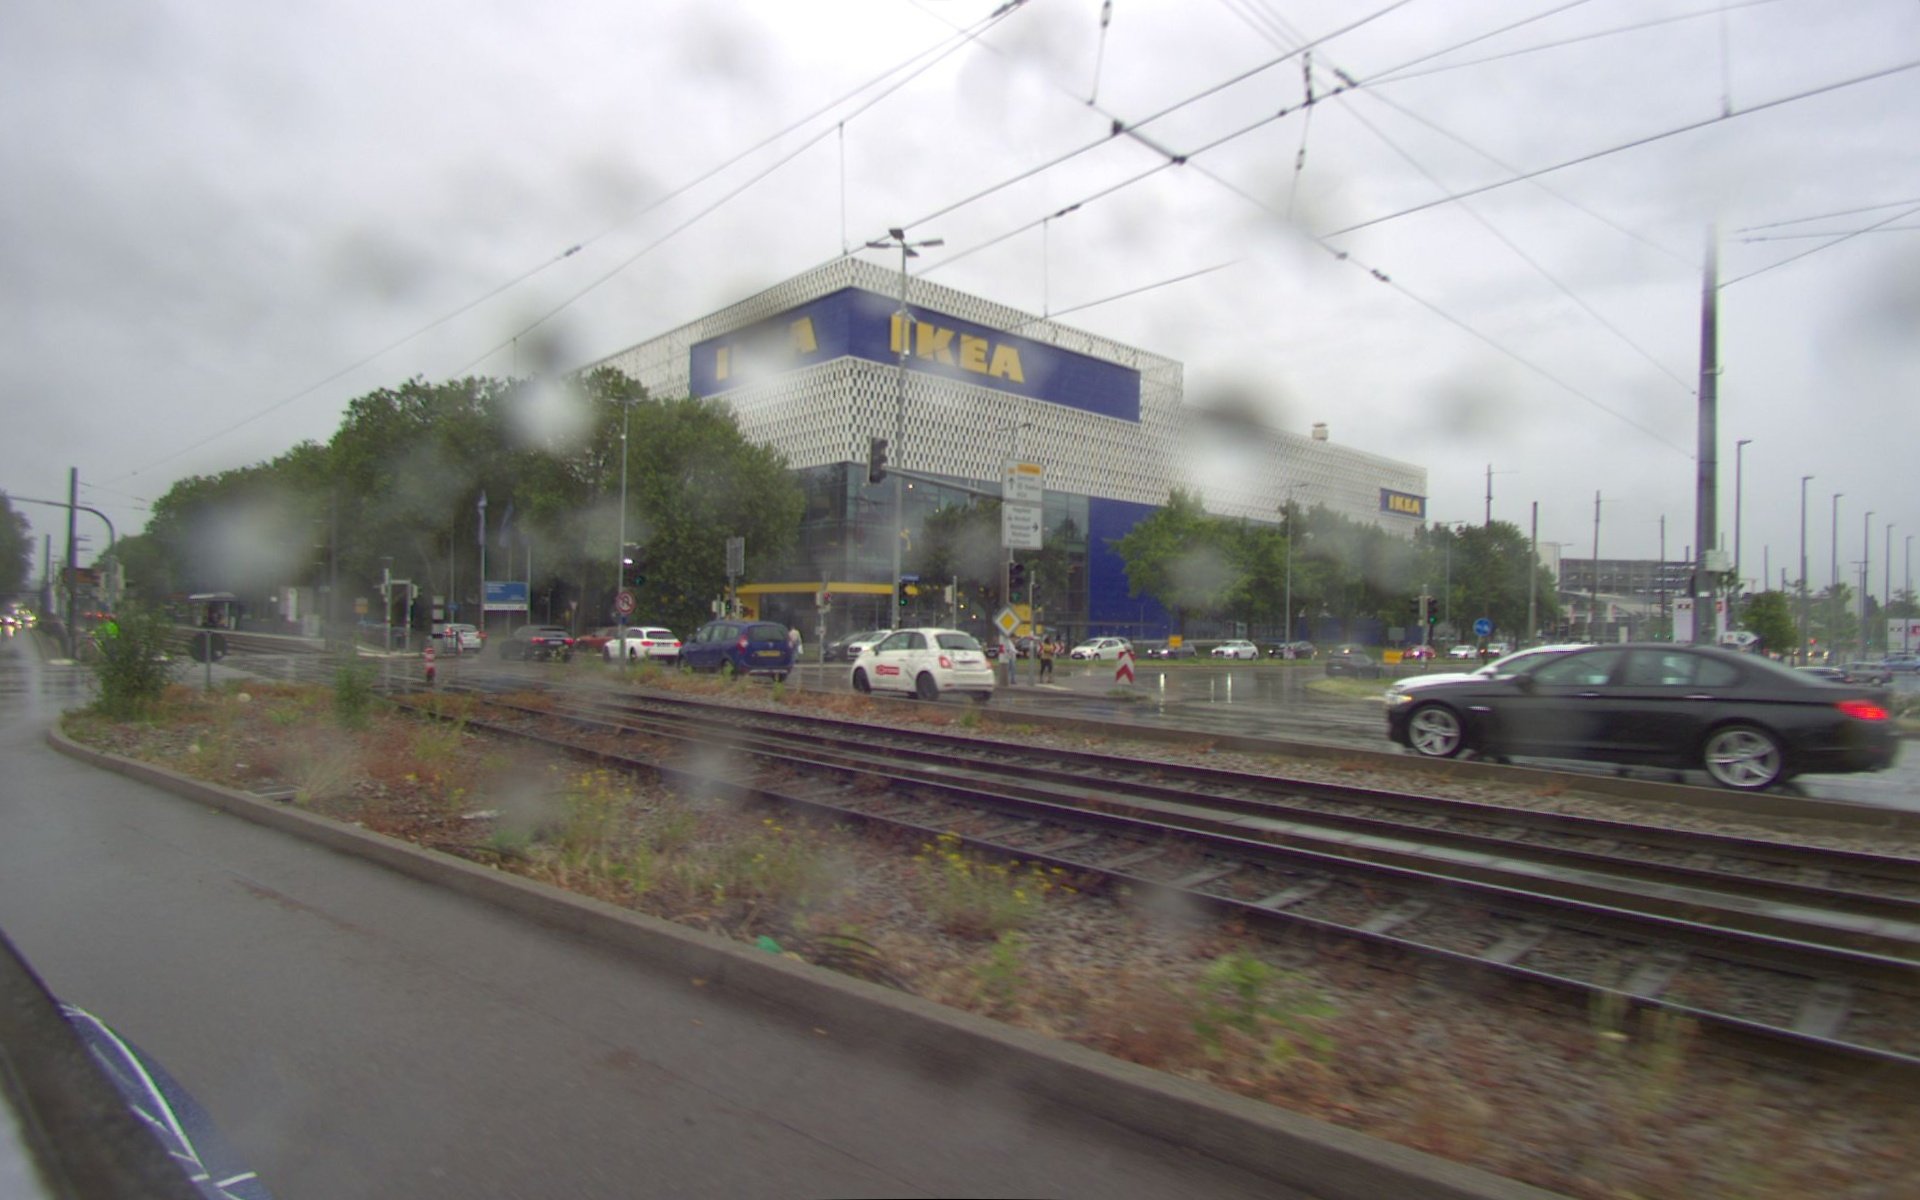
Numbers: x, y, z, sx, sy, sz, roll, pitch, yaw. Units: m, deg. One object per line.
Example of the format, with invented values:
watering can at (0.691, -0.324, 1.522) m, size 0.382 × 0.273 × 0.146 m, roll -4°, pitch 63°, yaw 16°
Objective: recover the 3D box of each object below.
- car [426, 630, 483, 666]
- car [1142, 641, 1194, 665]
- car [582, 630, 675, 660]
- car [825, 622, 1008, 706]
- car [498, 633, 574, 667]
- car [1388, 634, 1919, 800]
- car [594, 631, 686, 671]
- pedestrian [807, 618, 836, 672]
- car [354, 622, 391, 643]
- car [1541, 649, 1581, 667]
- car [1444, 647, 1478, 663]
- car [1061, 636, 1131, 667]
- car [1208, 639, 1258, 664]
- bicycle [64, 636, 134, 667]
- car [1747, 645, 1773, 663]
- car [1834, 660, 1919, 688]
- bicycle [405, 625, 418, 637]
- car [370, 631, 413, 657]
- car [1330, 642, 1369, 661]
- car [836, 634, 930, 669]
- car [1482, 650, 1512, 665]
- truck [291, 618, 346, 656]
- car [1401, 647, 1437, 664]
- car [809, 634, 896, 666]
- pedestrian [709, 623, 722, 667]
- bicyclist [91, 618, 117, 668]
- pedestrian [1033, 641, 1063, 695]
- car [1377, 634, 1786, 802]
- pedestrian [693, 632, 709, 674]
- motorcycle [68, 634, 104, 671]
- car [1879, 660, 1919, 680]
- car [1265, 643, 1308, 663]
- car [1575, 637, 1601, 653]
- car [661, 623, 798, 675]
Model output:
car at (-26.080, 2.454, 52.151) m, size 1.690 × 1.721 × 4.437 m, roll -1°, pitch -1°, yaw -39°
car at (14.571, 3.699, 70.800) m, size 3.766 × 1.417 × 1.605 m, roll -1°, pitch 0°, yaw -41°
car at (-19.944, 2.711, 60.985) m, size 5.005 × 1.579 × 1.994 m, roll -2°, pitch -1°, yaw 11°
car at (-1.011, 1.302, 21.437) m, size 1.691 × 1.547 × 4.053 m, roll -1°, pitch -1°, yaw -41°
car at (-17.524, 2.054, 41.715) m, size 1.691 × 1.259 × 4.053 m, roll -1°, pitch -1°, yaw -41°
car at (7.610, 1.158, 11.058) m, size 1.899 × 1.434 × 5.089 m, roll 6°, pitch -6°, yaw -41°
car at (-13.013, 2.038, 40.966) m, size 1.790 × 1.447 × 4.718 m, roll -1°, pitch -1°, yaw -42°
pedestrian at (-6.046, 1.945, 44.037) m, size 0.905 × 2.261 × 0.992 m, roll -2°, pitch 2°, yaw -30°
car at (-42.020, 2.345, 72.341) m, size 1.562 × 1.425 × 3.920 m, roll -1°, pitch -1°, yaw -42°
car at (56.557, 5.421, 95.245) m, size 4.156 × 1.417 × 2.039 m, roll -1°, pitch 0°, yaw -41°
car at (51.333, 5.587, 103.635) m, size 4.102 × 1.417 × 1.712 m, roll -1°, pitch 0°, yaw -41°
car at (8.119, 3.053, 60.385) m, size 4.047 × 1.615 × 2.002 m, roll -1°, pitch 0°, yaw -42°
car at (20.466, 3.834, 75.778) m, size 3.952 × 1.686 × 1.684 m, roll -1°, pitch 0°, yaw -41°
bicycle at (-30.999, 1.841, 36.462) m, size 0.670 × 1.016 × 1.844 m, roll -3°, pitch -1°, yaw 45°
car at (105.207, 7.064, 133.056) m, size 3.939 × 2.029 × 2.003 m, roll -1°, pitch 0°, yaw -42°
car at (58.964, 4.723, 65.133) m, size 4.042 × 1.536 × 1.693 m, roll 0°, pitch 0°, yaw 43°
bicycle at (-43.477, 2.457, 80.260) m, size 1.175 × 0.863 × 0.566 m, roll -1°, pitch 0°, yaw 42°
car at (-33.748, 2.596, 60.010) m, size 1.561 × 1.377 × 4.209 m, roll -1°, pitch -1°, yaw -38°
car at (33.818, 4.415, 87.768) m, size 3.766 × 1.417 × 1.605 m, roll -1°, pitch 0°, yaw -41°
car at (-3.744, 2.521, 49.925) m, size 4.394 × 1.552 × 1.822 m, roll 0°, pitch -2°, yaw -42°
car at (58.129, 6.221, 109.552) m, size 3.766 × 1.417 × 1.605 m, roll -1°, pitch 0°, yaw -41°
truck at (-58.777, 3.310, 92.609) m, size 2.707 × 2.870 × 9.106 m, roll -1°, pitch 2°, yaw -42°
car at (44.077, 5.284, 97.125) m, size 3.924 × 1.417 × 1.605 m, roll -1°, pitch 0°, yaw -41°
car at (-5.570, 2.569, 52.669) m, size 4.222 × 1.552 × 1.822 m, roll 1°, pitch -3°, yaw -42°
pedestrian at (-12.132, 2.224, 50.192) m, size 0.562 × 2.151 × 0.634 m, roll -2°, pitch -1°, yaw -12°
bicyclist at (-30.883, 1.541, 36.499) m, size 0.793 × 1.745 × 0.610 m, roll -3°, pitch -1°, yaw 44°
pedestrian at (3.091, 2.386, 35.678) m, size 0.768 × 1.832 × 0.706 m, roll -1°, pitch 0°, yaw 40°
car at (8.947, 1.543, 14.931) m, size 1.970 × 1.916 × 4.796 m, roll -1°, pitch 0°, yaw -43°
pedestrian at (-12.787, 2.601, 50.002) m, size 0.683 × 2.029 × 0.629 m, roll -2°, pitch -1°, yaw -12°
motorcycle at (-30.447, 1.804, 35.262) m, size 0.519 × 1.230 × 1.406 m, roll -2°, pitch -1°, yaw -23°
car at (78.431, 5.794, 83.533) m, size 1.758 × 1.417 × 3.573 m, roll -1°, pitch 0°, yaw -40°
car at (26.050, 4.214, 80.678) m, size 3.766 × 1.417 × 1.605 m, roll -1°, pitch 0°, yaw -41°
car at (87.378, 6.295, 140.743) m, size 3.939 × 2.029 × 2.003 m, roll -1°, pitch 0°, yaw -42°
car at (-6.394, 1.310, 27.735) m, size 1.691 × 1.259 × 4.466 m, roll -1°, pitch -1°, yaw -42°
